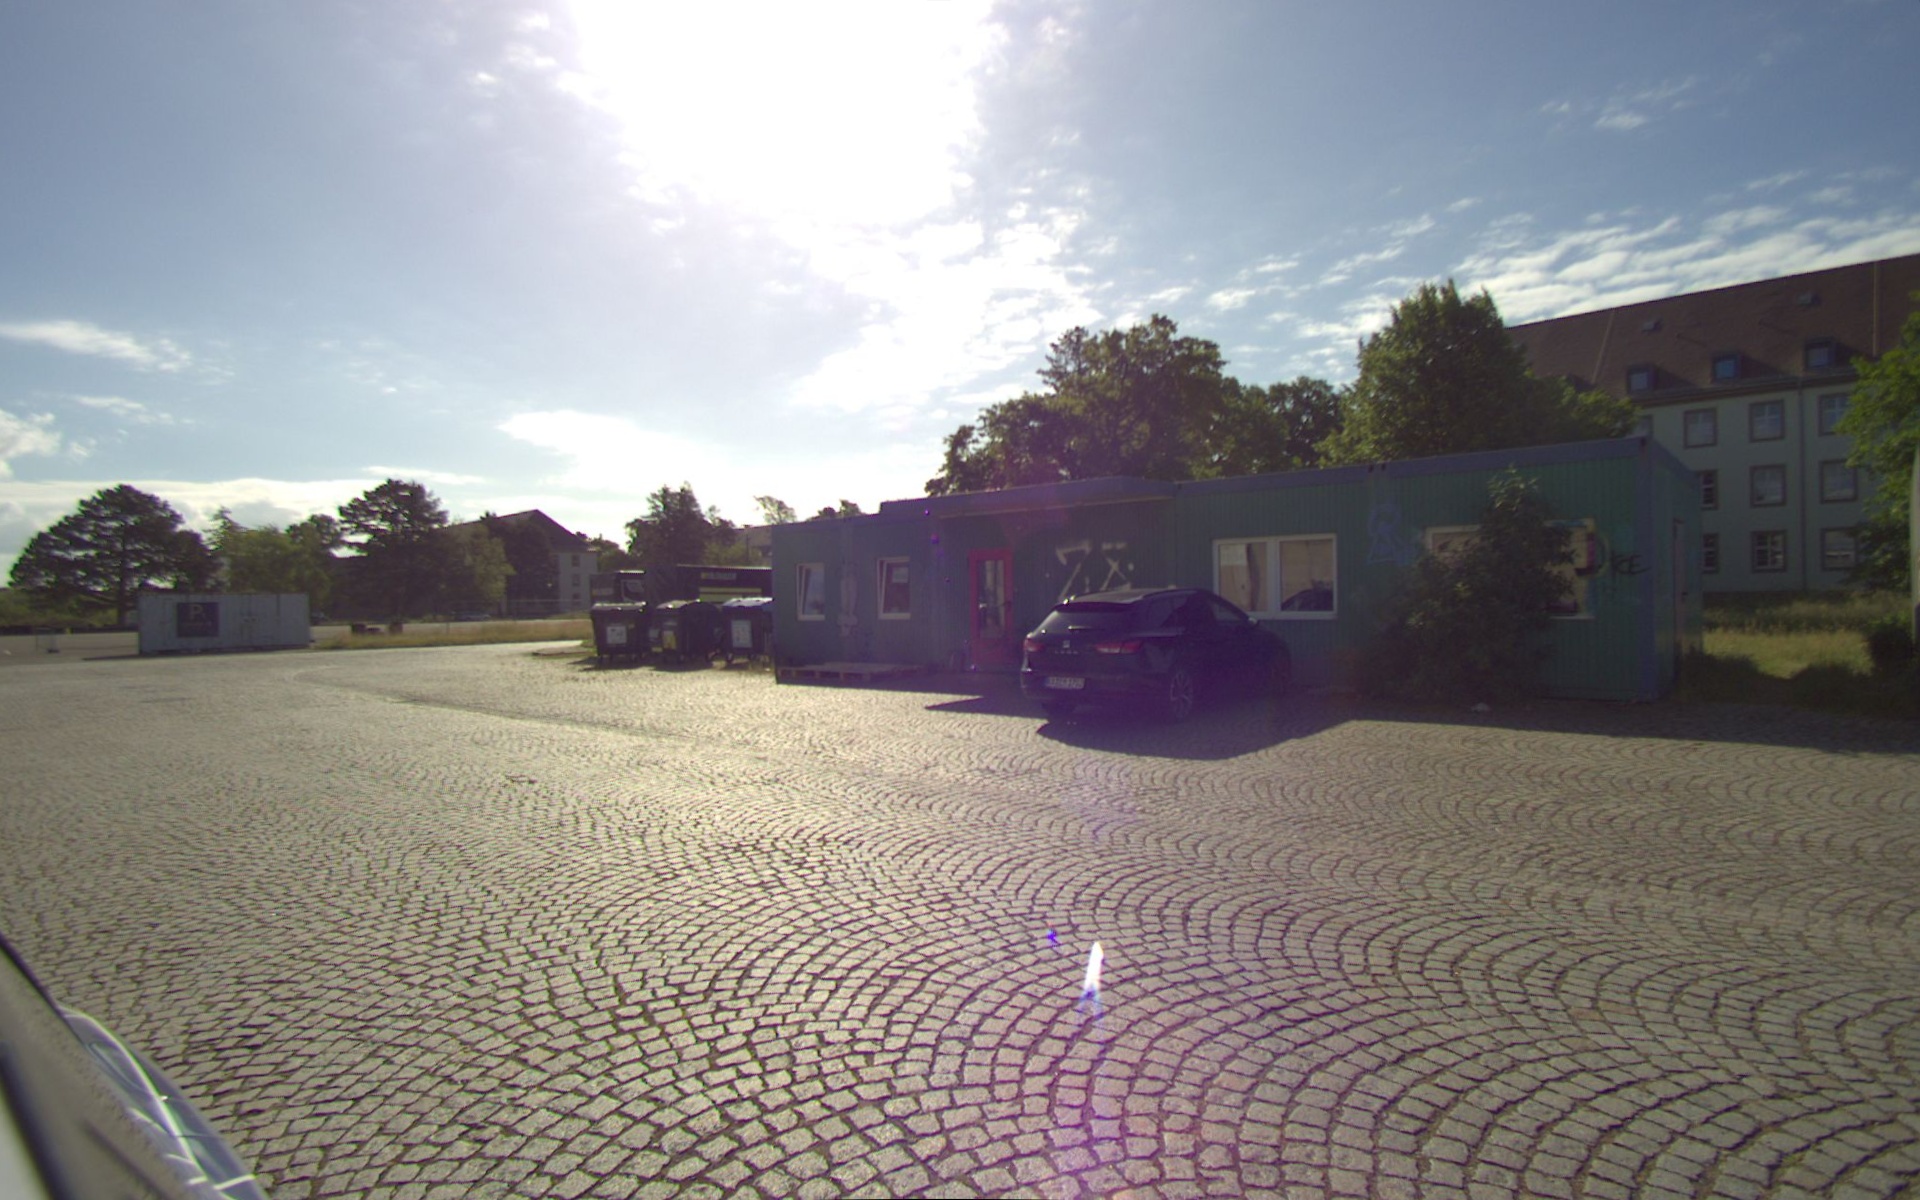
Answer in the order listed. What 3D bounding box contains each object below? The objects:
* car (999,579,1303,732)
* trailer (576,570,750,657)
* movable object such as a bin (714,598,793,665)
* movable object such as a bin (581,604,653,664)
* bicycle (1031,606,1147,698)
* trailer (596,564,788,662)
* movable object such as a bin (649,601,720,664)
[{"bbox_3d":[2.400,0.522,11.990,1.731,1.423,4.007,-1,1,41],"label":"car"},{"bbox_3d":[-8.560,0.331,29.433,2.014,2.290,4.405,-1,1,43],"label":"trailer"},{"bbox_3d":[-4.689,0.708,23.020,1.404,1.447,1.077,-1,0,32],"label":"movable object such as a bin"},{"bbox_3d":[-8.305,0.805,24.561,1.346,1.396,1.047,-1,0,1],"label":"movable object such as a bin"},{"bbox_3d":[1.798,0.679,13.898,0.674,1.109,1.689,-2,1,43],"label":"bicycle"},{"bbox_3d":[-7.154,0.274,27.461,1.940,2.409,4.794,-1,1,38],"label":"trailer"},{"bbox_3d":[-6.393,0.740,23.479,1.068,1.396,1.370,-1,0,-43],"label":"movable object such as a bin"}]
